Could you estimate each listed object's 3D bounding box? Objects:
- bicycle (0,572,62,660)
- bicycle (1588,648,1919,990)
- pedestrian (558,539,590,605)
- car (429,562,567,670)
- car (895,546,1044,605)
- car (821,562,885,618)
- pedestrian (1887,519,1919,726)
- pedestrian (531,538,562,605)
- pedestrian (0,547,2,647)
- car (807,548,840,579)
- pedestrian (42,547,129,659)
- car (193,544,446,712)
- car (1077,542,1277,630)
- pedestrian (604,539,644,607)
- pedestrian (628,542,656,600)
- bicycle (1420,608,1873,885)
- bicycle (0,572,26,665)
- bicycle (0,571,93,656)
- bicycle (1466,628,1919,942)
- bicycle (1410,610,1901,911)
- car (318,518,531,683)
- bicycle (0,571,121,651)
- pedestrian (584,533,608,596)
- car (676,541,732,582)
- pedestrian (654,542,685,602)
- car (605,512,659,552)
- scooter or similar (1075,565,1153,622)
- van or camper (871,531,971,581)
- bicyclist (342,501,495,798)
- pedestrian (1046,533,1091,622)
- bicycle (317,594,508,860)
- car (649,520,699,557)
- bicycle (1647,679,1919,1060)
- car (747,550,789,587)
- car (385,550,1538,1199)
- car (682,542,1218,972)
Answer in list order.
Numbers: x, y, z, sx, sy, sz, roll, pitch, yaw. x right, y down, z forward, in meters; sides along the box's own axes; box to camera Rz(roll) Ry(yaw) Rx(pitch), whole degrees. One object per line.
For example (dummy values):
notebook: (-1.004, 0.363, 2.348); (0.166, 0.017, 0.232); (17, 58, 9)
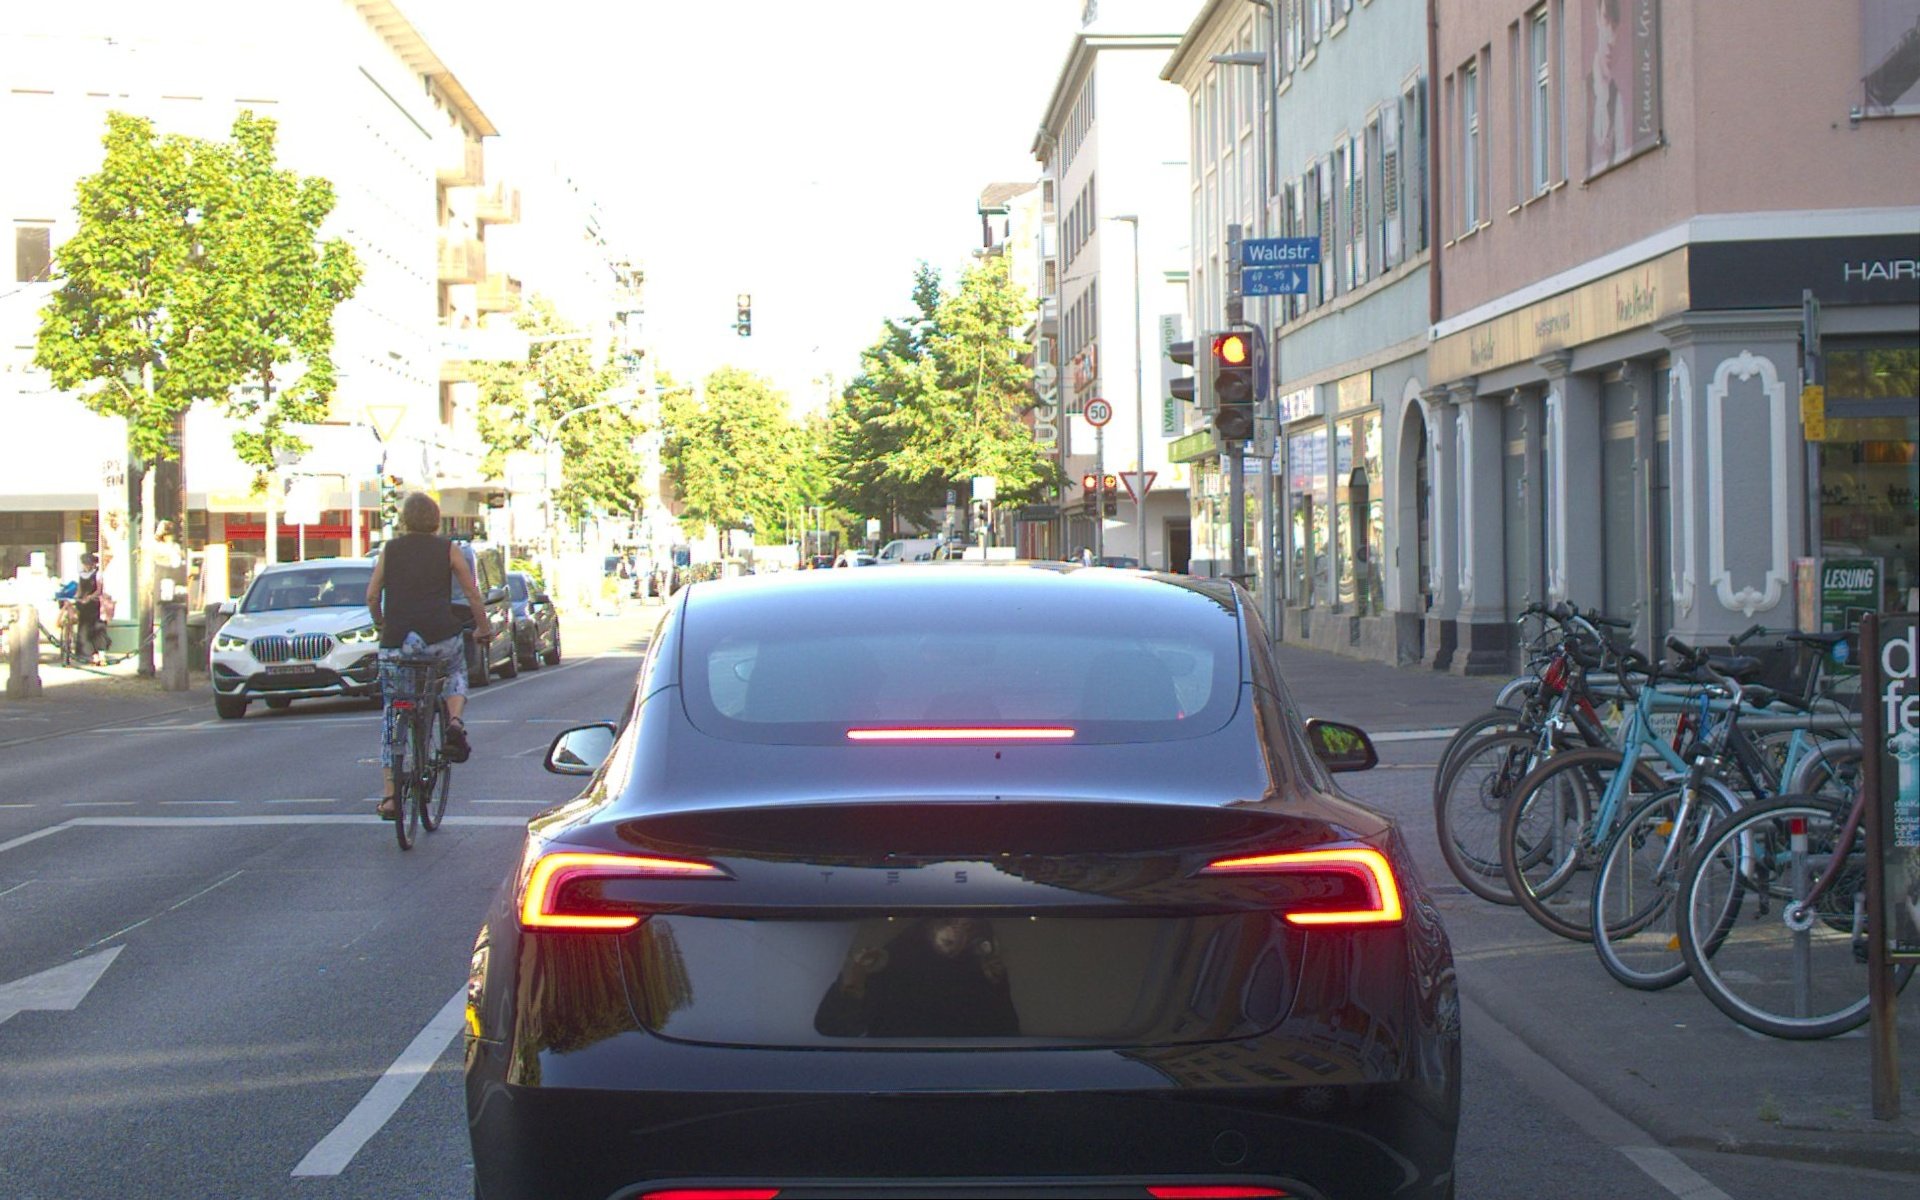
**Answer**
bicycle: (-14.489, 0.219, 49.878); (2.662, 1.255, 0.943); (1, 0, -3)
bicycle: (2.999, 0.694, 11.134); (1.813, 1.056, 0.653); (0, 1, 1)
pedestrian: (-10.906, -0.798, 97.180); (0.732, 1.861, 0.791); (1, 0, -17)
car: (-6.655, 0.207, 49.810); (1.461, 1.425, 3.606); (-4, 1, -1)
car: (0.255, -0.597, 84.596); (1.697, 1.385, 3.908); (1, 1, 36)
car: (-3.533, -0.352, 112.836); (2.035, 1.782, 4.007); (0, 1, -3)
pedestrian: (7.410, 0.168, 25.937); (0.722, 1.544, 0.792); (1, 0, 10)
pedestrian: (-11.662, -0.806, 96.914); (0.732, 1.861, 0.791); (1, 0, -17)
pedestrian: (-17.371, -0.060, 60.620); (0.844, 1.754, 0.707); (1, 0, -21)
car: (-8.128, -2.174, 204.518); (1.892, 1.807, 3.925); (1, 1, -2)
pedestrian: (-12.811, 0.039, 50.382); (1.092, 1.606, 1.267); (1, 0, -8)
car: (-6.688, 0.257, 36.353); (1.825, 1.559, 4.301); (-4, 1, -1)
car: (4.708, -0.321, 74.688); (3.992, 1.861, 1.698); (0, 1, -21)
pedestrian: (-9.257, -0.751, 94.728); (0.734, 1.861, 0.789); (1, 0, 28)
pedestrian: (-10.401, -0.945, 112.476); (0.694, 1.861, 0.910); (1, 0, -18)
bicycle: (2.922, 0.614, 14.749); (1.813, 1.148, 0.653); (0, 1, 1)
bicycle: (-14.487, 0.237, 47.559); (2.875, 1.266, 0.943); (1, 0, -3)
bicycle: (-14.534, 0.192, 52.153); (2.542, 1.247, 0.943); (1, 0, -3)
bicycle: (2.799, 0.659, 12.541); (1.813, 1.098, 0.653); (0, 1, 1)
bicycle: (2.730, 0.622, 13.615); (1.813, 1.148, 0.653); (0, 1, 1)
car: (-6.573, -0.033, 42.676); (1.945, 1.940, 4.820); (0, 1, -1)
bicycle: (-14.695, 0.165, 54.578); (2.542, 1.247, 0.943); (1, 0, -3)
pedestrian: (-10.996, -1.072, 103.891); (0.695, 1.861, 0.659); (1, 0, -5)
car: (-12.394, -1.868, 166.464); (2.414, 1.963, 4.678); (0, 1, -1)
pedestrian: (-9.200, -0.892, 108.906); (0.774, 1.861, 1.009); (1, 0, -16)
car: (-17.124, -3.535, 179.655); (2.275, 2.007, 4.717); (1, 1, 1)
scooter or similar: (3.110, -0.139, 69.446); (1.333, 1.131, 0.810); (1, 0, -24)
van or camper: (-1.899, -2.132, 167.561); (4.850, 2.430, 1.851); (0, 1, -1)
bicyclist: (-2.768, 0.242, 17.639); (0.606, 1.479, 0.958); (1, 0, 1)
pedestrian: (2.179, -0.453, 69.040); (0.658, 1.754, 0.654); (1, 0, -24)
bicycle: (-2.774, 0.612, 17.589); (0.628, 1.219, 2.001); (1, 2, 1)
car: (-15.647, -3.355, 188.294); (2.275, 2.007, 4.717); (1, 1, 1)
bicycle: (3.025, 0.761, 10.063); (1.882, 1.040, 0.653); (-1, 1, 1)
car: (-10.441, -1.740, 187.147); (2.132, 1.963, 4.134); (0, 1, -1)
car: (-0.025, 0.630, 7.786); (1.850, 1.442, 4.452); (1, 1, -1)
car: (-0.061, 0.526, 14.211); (1.850, 1.476, 4.452); (1, 1, -1)
